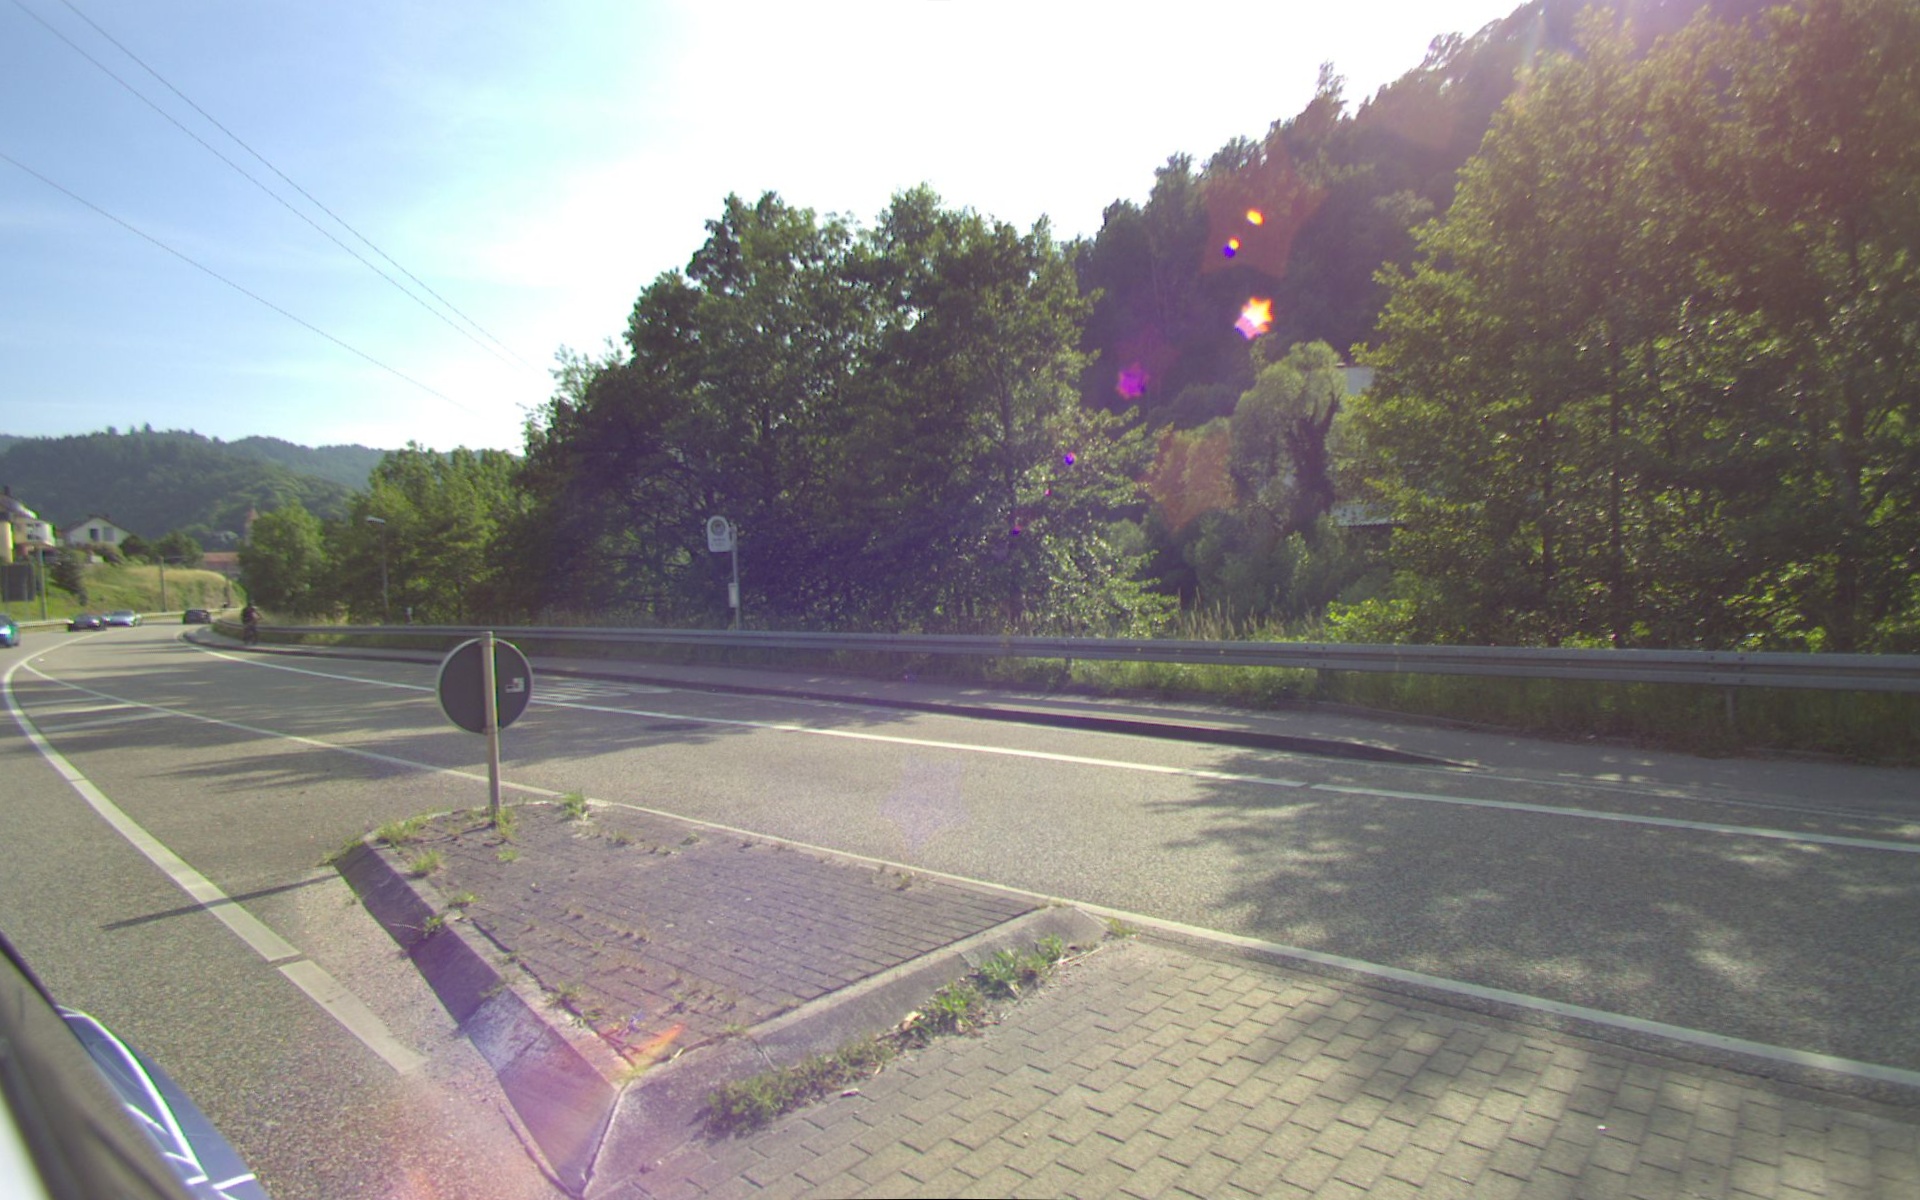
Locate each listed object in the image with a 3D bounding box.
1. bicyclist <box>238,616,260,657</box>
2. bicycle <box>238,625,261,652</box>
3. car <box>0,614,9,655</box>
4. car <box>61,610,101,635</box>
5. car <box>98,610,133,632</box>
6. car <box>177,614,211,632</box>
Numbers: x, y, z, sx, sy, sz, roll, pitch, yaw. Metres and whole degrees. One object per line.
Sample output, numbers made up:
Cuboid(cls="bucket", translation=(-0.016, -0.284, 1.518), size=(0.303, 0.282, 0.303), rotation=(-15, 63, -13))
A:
Cuboid(cls="bicyclist", translation=(-29.204, 1.494, 41.585), size=(0.550, 1.598, 1.037), rotation=(-6, 2, -39))
Cuboid(cls="bicycle", translation=(-29.282, 1.588, 41.683), size=(0.550, 1.053, 2.233), rotation=(-6, 2, -39))
Cuboid(cls="car", translation=(-43.561, 1.505, 44.952), size=(1.858, 1.758, 4.182), rotation=(1, -2, -44))
Cuboid(cls="car", translation=(-63.407, 1.597, 73.087), size=(1.856, 1.758, 4.188), rotation=(-1, 0, -37))
Cuboid(cls="car", translation=(-71.034, 1.752, 85.148), size=(1.855, 1.758, 4.189), rotation=(-1, 0, -35))
Cuboid(cls="car", translation=(-71.296, 2.123, 94.256), size=(1.864, 1.499, 4.013), rotation=(-2, 1, -28))
